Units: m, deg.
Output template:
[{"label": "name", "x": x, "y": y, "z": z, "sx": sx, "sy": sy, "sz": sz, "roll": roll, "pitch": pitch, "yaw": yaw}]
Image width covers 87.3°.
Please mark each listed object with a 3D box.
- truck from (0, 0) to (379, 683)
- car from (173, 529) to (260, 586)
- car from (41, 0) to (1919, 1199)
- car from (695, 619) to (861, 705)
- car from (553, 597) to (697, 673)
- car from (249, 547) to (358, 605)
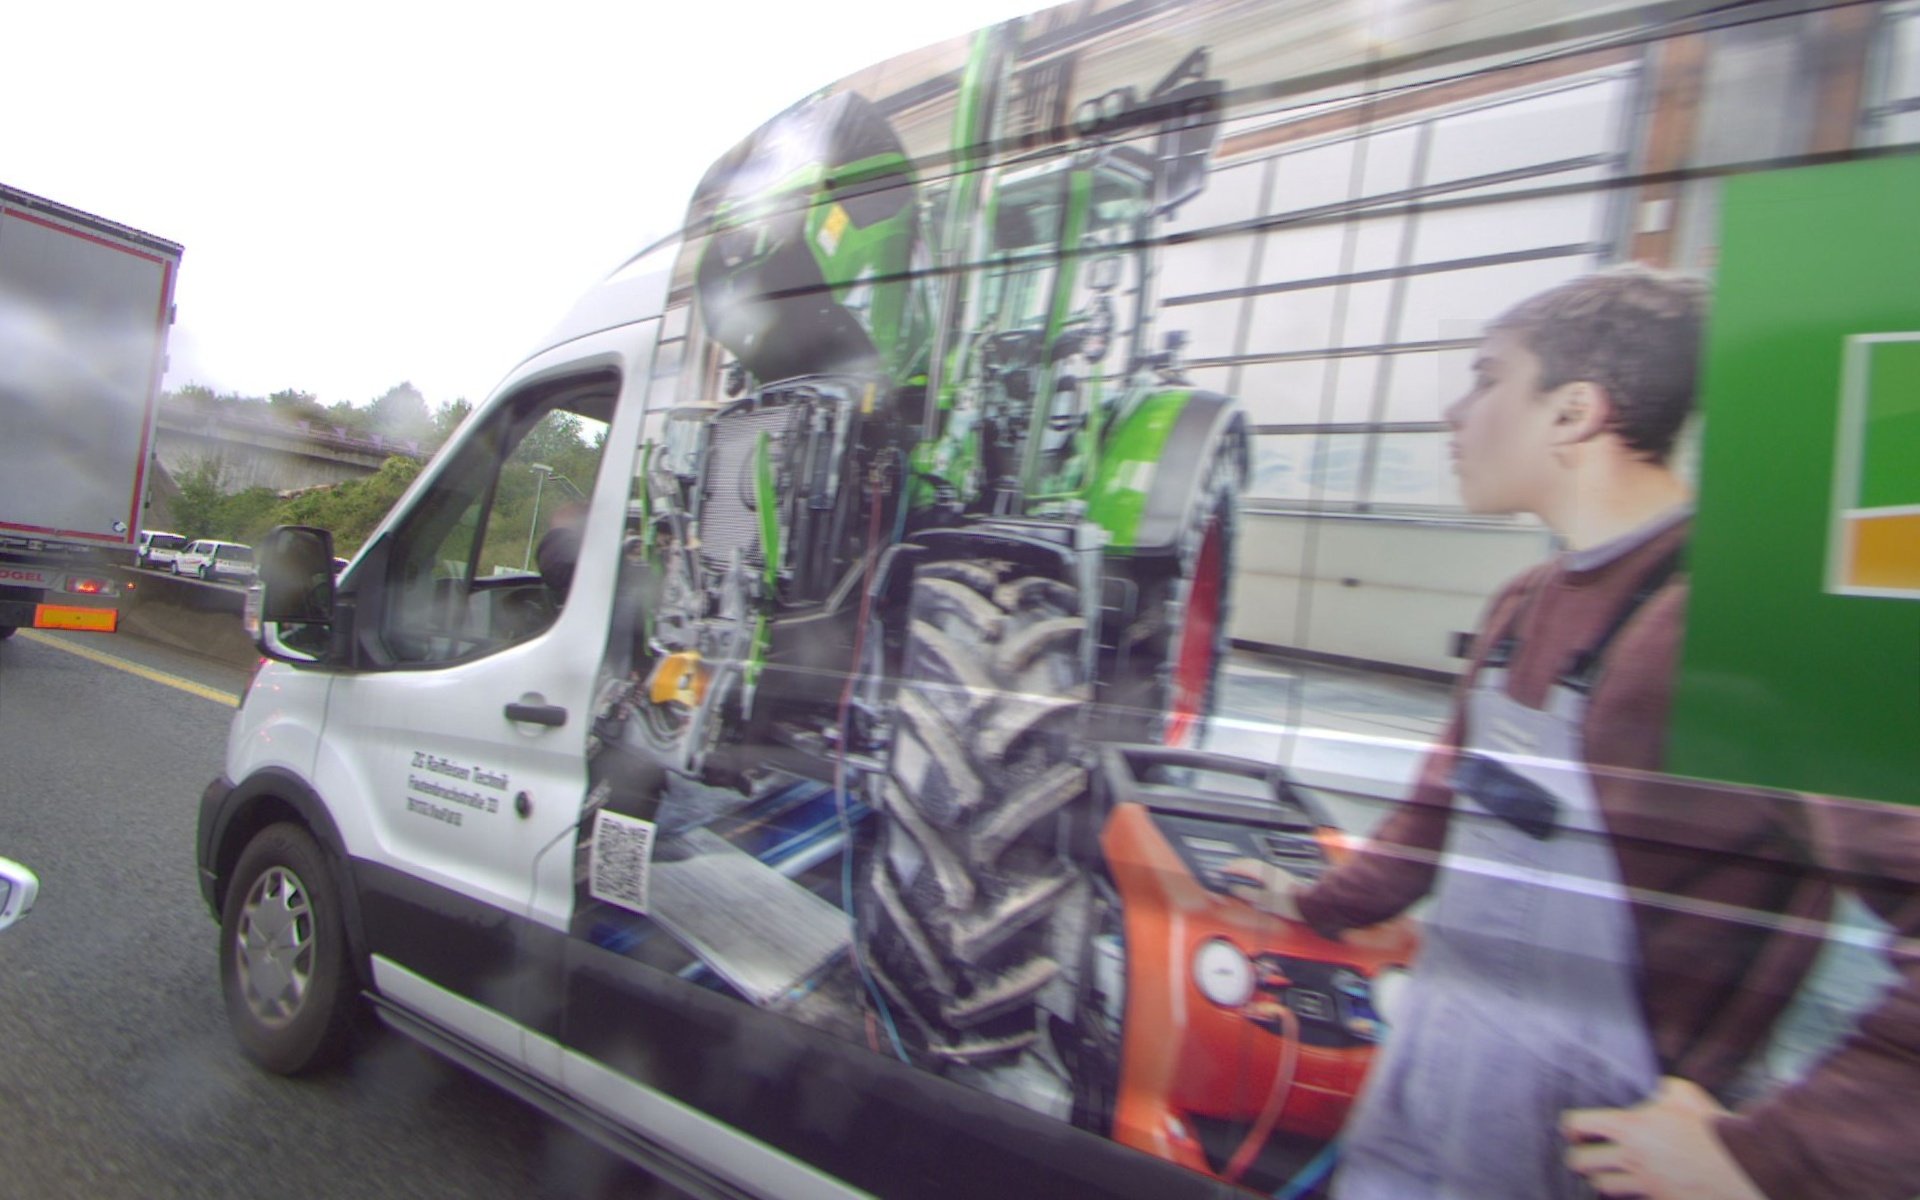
[{"label": "truck", "x": -15.600, "y": -3.149, "z": 13.829, "sx": 20.043, "sy": 5.740, "sz": 3.986, "roll": 6, "pitch": -1, "yaw": 33}, {"label": "car", "x": -33.735, "y": -1.930, "z": 45.622, "sx": 4.057, "sy": 2.082, "sz": 1.731, "roll": 6, "pitch": -1, "yaw": 34}, {"label": "car", "x": 0.323, "y": 0.174, "z": 2.531, "sx": 6.016, "sy": 2.707, "sz": 2.148, "roll": 6, "pitch": -1, "yaw": 32}, {"label": "car", "x": -5.070, "y": 1.705, "z": 27.857, "sx": 4.257, "sy": 1.790, "sz": 1.732, "roll": 7, "pitch": -1, "yaw": 30}, {"label": "car", "x": -10.383, "y": 1.075, "z": 31.100, "sx": 4.196, "sy": 1.778, "sz": 1.732, "roll": 7, "pitch": -1, "yaw": 30}, {"label": "car", "x": -27.150, "y": -1.008, "z": 41.569, "sx": 4.651, "sy": 1.850, "sz": 1.945, "roll": 6, "pitch": -2, "yaw": 34}]
